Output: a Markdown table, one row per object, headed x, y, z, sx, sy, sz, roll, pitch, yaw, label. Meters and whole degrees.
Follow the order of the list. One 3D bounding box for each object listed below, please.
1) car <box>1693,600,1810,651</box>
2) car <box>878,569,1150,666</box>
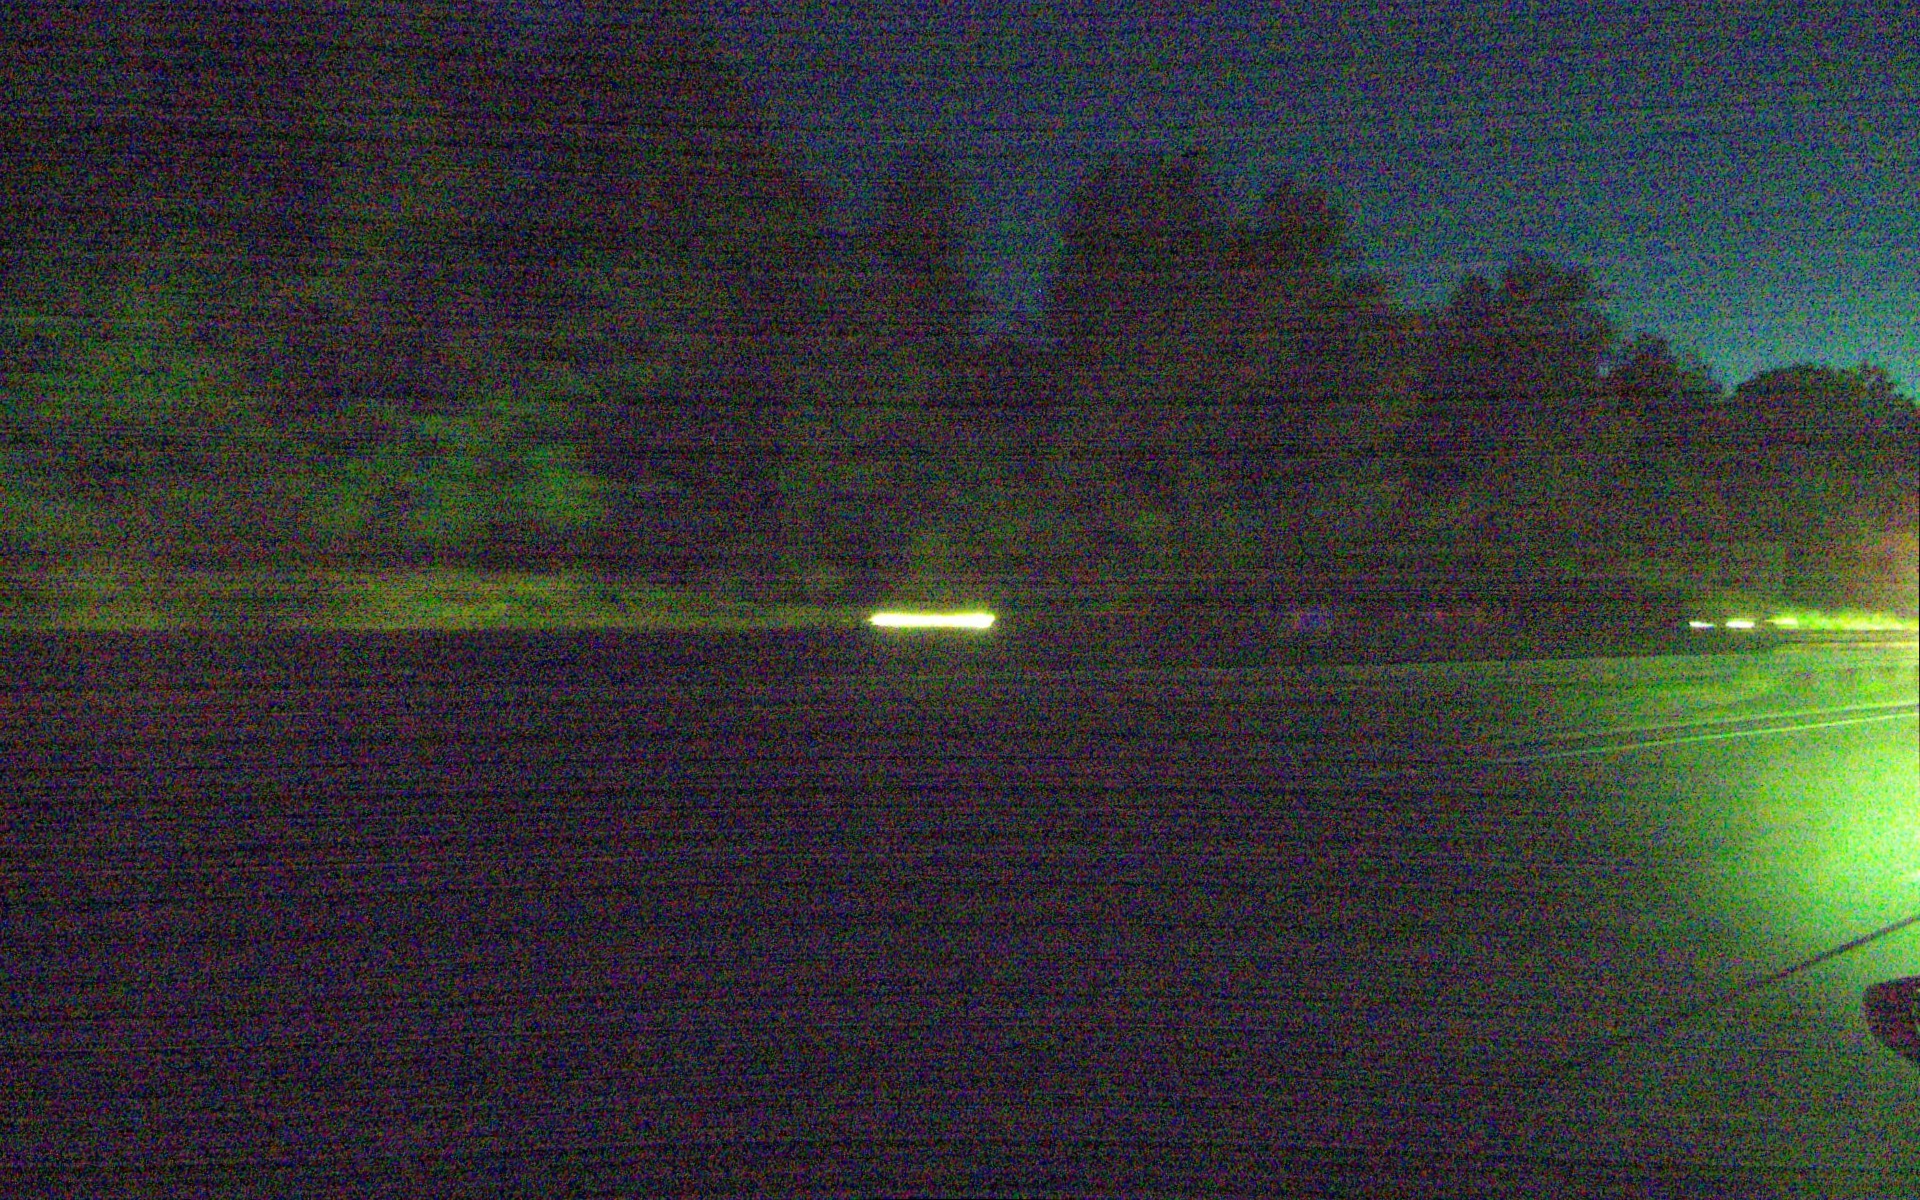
| x | y | z | sx | sy | sz | roll | pitch | yaw | label |
| --- | --- | --- | --- | --- | --- | --- | --- | --- | --- |
| 27.647 | 0.895 | 35.075 | 3.954 | 1.535 | 1.851 | 2 | 4 | -31 | car |
| 0.959 | 0.282 | 17.235 | 4.285 | 1.476 | 1.948 | 1 | 1 | -30 | car |
